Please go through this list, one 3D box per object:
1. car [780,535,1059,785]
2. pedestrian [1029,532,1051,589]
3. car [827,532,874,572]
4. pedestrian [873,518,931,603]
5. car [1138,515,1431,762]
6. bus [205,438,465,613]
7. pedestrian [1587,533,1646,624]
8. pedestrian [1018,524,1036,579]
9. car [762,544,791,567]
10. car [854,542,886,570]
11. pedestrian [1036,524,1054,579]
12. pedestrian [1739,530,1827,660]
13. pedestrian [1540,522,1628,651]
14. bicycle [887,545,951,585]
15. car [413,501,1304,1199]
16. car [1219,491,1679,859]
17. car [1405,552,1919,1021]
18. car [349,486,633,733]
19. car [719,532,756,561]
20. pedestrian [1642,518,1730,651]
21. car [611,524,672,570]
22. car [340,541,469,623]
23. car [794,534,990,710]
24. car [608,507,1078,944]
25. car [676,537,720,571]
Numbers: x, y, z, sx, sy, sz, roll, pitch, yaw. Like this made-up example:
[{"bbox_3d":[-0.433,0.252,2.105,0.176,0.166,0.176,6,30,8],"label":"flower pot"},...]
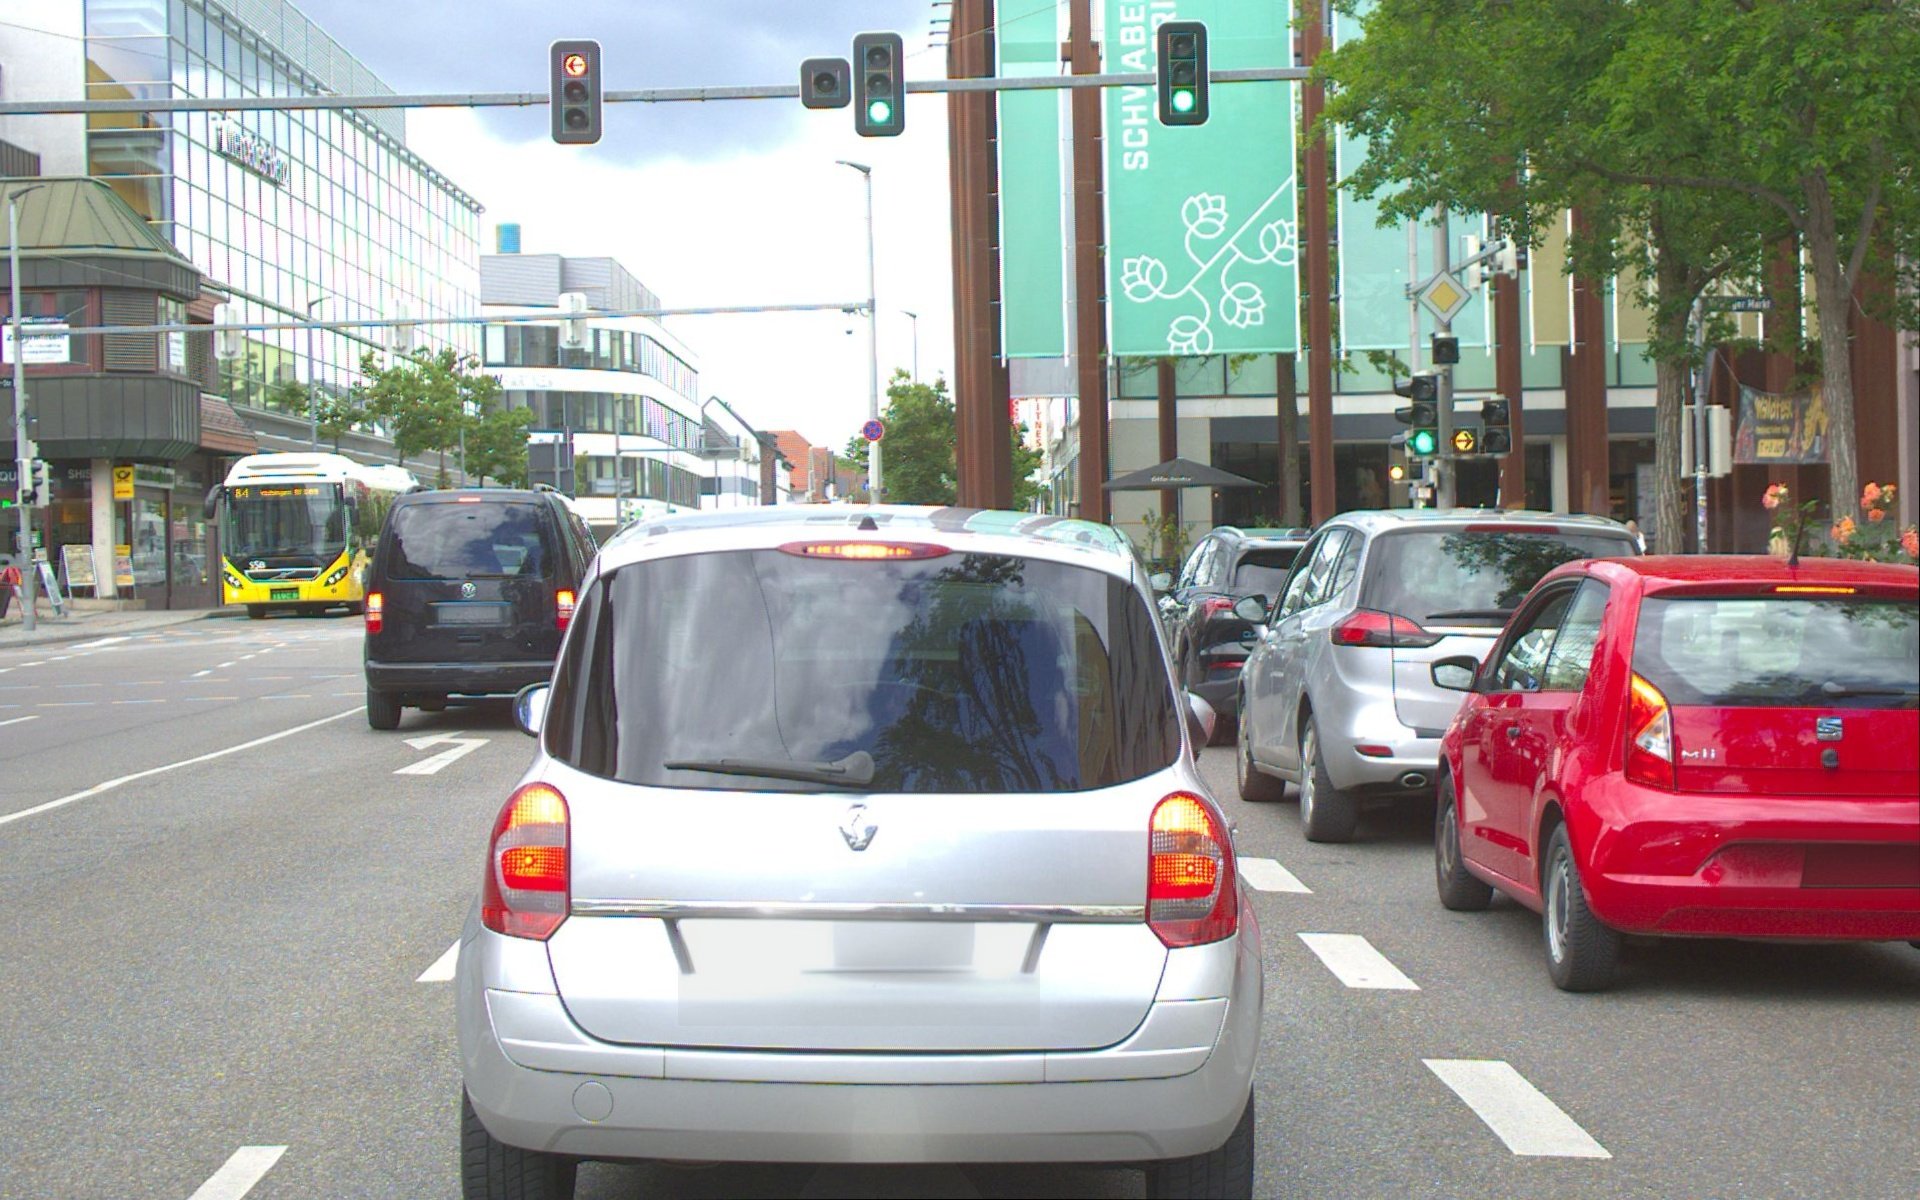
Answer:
[{"bbox_3d":[-0.267,0.332,22.714,1.669,1.490,3.642,1,1,-1],"label":"car"},{"bbox_3d":[1.737,-0.863,74.522,0.447,1.216,0.606,-1,1,2],"label":"pedestrian"},{"bbox_3d":[-4.222,-1.869,133.143,1.660,1.460,4.000,-2,1,0],"label":"car"},{"bbox_3d":[-1.126,-0.765,66.689,0.871,1.641,0.679,0,2,34],"label":"pedestrian"},{"bbox_3d":[2.371,0.224,26.116,1.739,1.695,4.381,1,1,-1],"label":"car"},{"bbox_3d":[-13.351,-1.636,74.665,2.987,3.316,12.306,-3,1,1],"label":"bus"},{"bbox_3d":[11.681,-0.393,61.210,0.821,1.589,1.039,-1,1,-1],"label":"pedestrian"},{"bbox_3d":[1.889,-1.369,96.980,0.427,1.544,0.481,-1,1,-2],"label":"pedestrian"},{"bbox_3d":[-11.968,-2.906,224.890,1.660,1.460,4.000,-2,1,0],"label":"car"},{"bbox_3d":[-5.010,-2.483,192.606,1.660,1.460,4.000,-2,1,0],"label":"car"},{"bbox_3d":[2.400,-1.364,97.129,0.427,1.544,0.481,-1,1,-2],"label":"pedestrian"},{"bbox_3d":[11.363,-0.081,47.487,0.878,1.761,1.120,-1,1,-3],"label":"pedestrian"},{"bbox_3d":[8.282,-0.188,45.648,0.878,1.675,1.120,-1,1,-3],"label":"pedestrian"},{"bbox_3d":[-1.050,-0.909,88.086,1.561,0.989,0.752,-1,1,3],"label":"bicycle"},{"bbox_3d":[-0.216,0.565,8.353,1.669,1.549,3.642,1,1,-1],"label":"car"},{"bbox_3d":[2.454,0.308,18.275,1.739,1.695,4.381,1,1,-1],"label":"car"},{"bbox_3d":[2.726,0.570,12.694,1.626,1.443,3.642,1,1,-1],"label":"car"},{"bbox_3d":[-3.716,0.023,27.924,1.707,1.814,4.572,1,1,-1],"label":"car"},{"bbox_3d":[-11.882,-2.848,183.636,1.660,1.460,4.000,-2,1,0],"label":"car"},{"bbox_3d":[9.795,-0.219,46.401,0.878,1.761,1.120,-1,1,-3],"label":"pedestrian"},{"bbox_3d":[-10.662,-1.778,115.340,1.660,1.460,4.000,-2,1,0],"label":"car"},{"bbox_3d":[-10.344,-0.349,64.282,1.759,1.443,4.036,-1,1,0],"label":"car"},{"bbox_3d":[-0.611,0.157,31.654,1.669,1.490,3.642,1,1,-1],"label":"car"},{"bbox_3d":[-0.443,0.417,14.228,1.669,1.549,3.642,1,1,-1],"label":"car"},{"bbox_3d":[-11.864,-2.092,155.717,1.660,1.460,4.000,-2,1,0],"label":"car"}]
